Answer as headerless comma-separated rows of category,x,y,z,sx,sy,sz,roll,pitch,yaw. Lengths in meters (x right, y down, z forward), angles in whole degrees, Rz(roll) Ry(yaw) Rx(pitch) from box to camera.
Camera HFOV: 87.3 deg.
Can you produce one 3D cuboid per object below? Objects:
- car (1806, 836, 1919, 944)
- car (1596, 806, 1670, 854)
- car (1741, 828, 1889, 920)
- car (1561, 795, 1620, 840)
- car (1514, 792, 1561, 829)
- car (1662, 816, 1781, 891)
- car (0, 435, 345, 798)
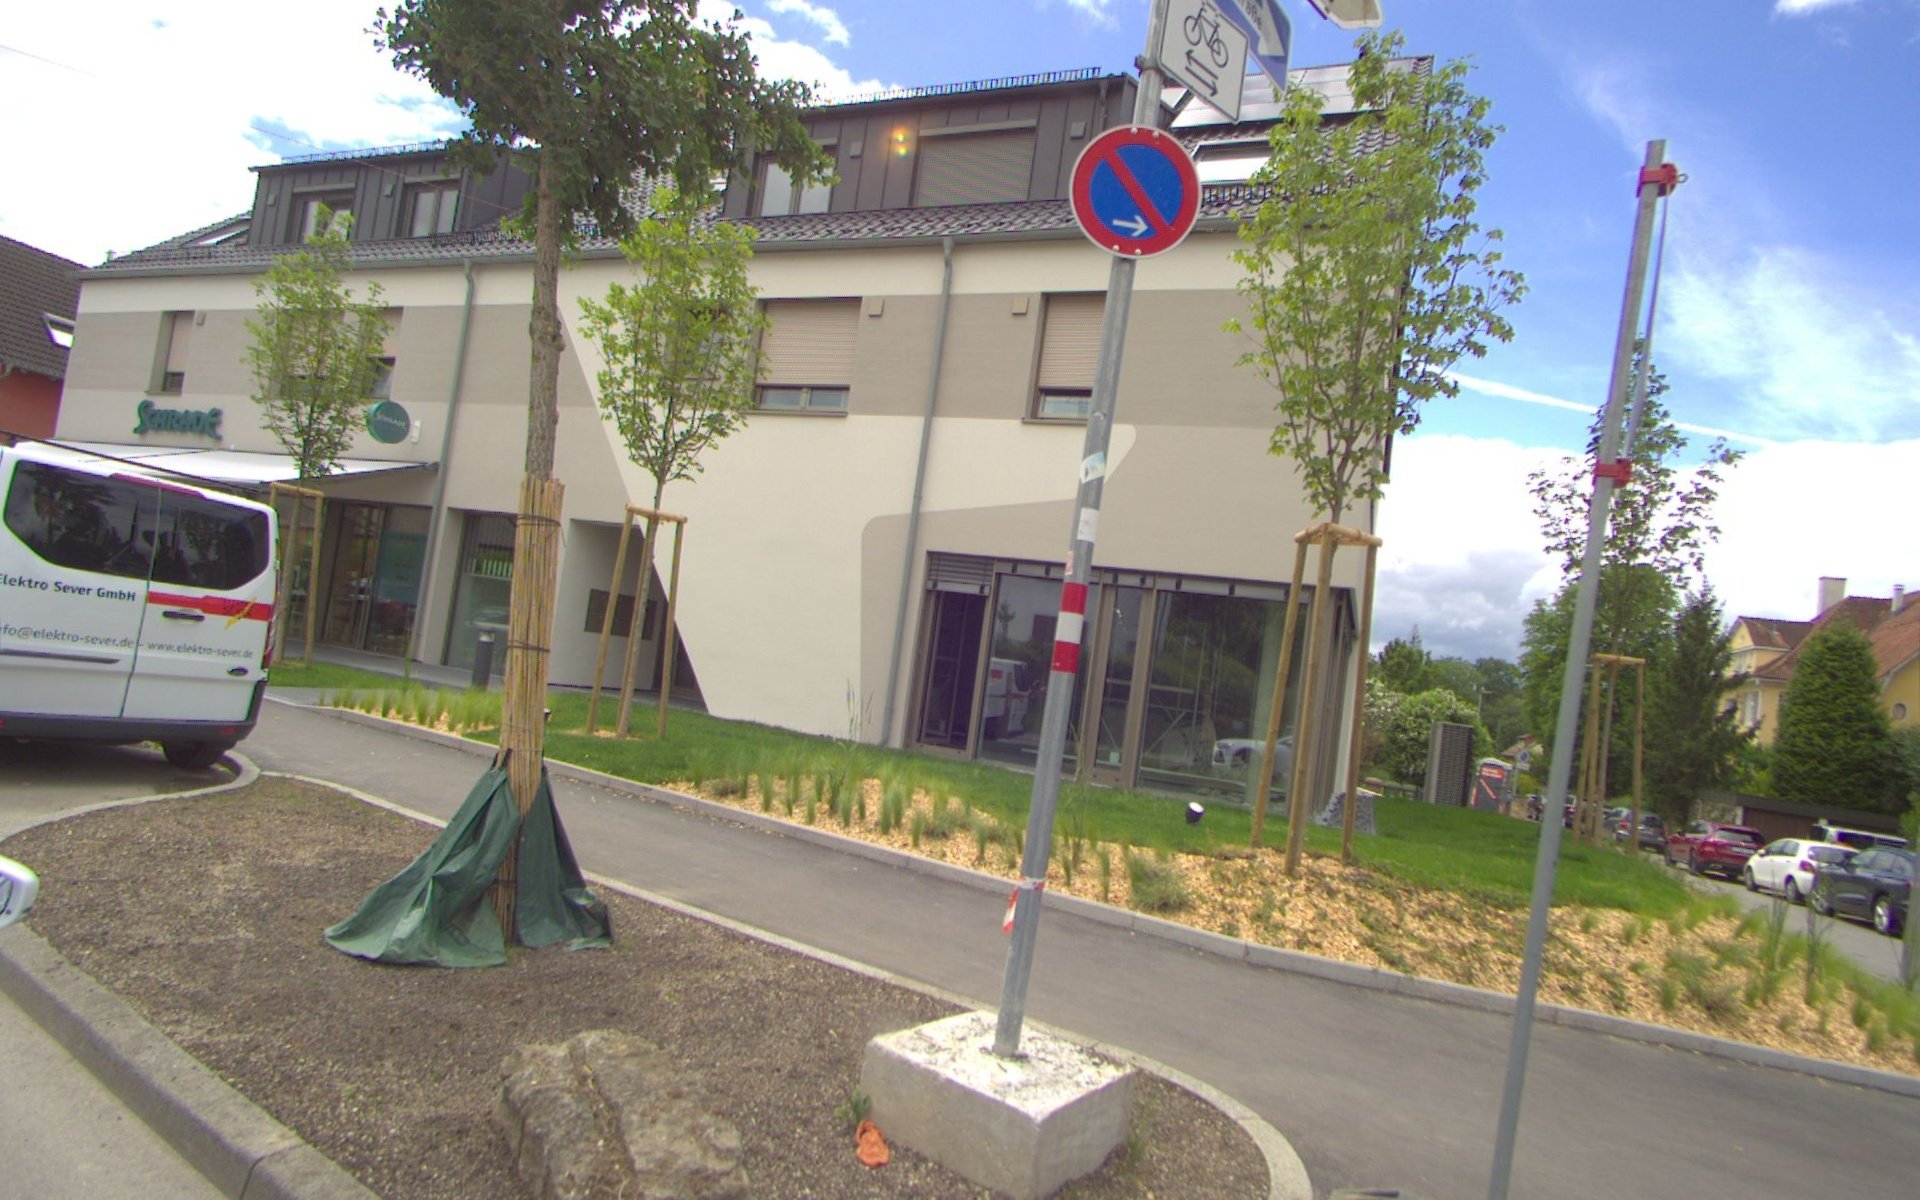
car,18.881,5.794,19.885,1.853,1.622,4.357,6,-6,21
car,27.601,9.408,41.357,1.631,1.464,3.469,6,-6,21
car,20.789,6.613,24.607,1.631,1.558,3.355,6,-6,21
car,30.276,10.425,48.382,1.631,1.725,3.469,6,-6,21
car,33.250,12.109,57.979,1.631,1.725,3.469,6,-6,21
car,22.312,7.385,29.642,1.631,1.558,3.906,6,-6,21
car,-6.963,0.027,7.229,4.818,1.934,1.967,5,-6,29
